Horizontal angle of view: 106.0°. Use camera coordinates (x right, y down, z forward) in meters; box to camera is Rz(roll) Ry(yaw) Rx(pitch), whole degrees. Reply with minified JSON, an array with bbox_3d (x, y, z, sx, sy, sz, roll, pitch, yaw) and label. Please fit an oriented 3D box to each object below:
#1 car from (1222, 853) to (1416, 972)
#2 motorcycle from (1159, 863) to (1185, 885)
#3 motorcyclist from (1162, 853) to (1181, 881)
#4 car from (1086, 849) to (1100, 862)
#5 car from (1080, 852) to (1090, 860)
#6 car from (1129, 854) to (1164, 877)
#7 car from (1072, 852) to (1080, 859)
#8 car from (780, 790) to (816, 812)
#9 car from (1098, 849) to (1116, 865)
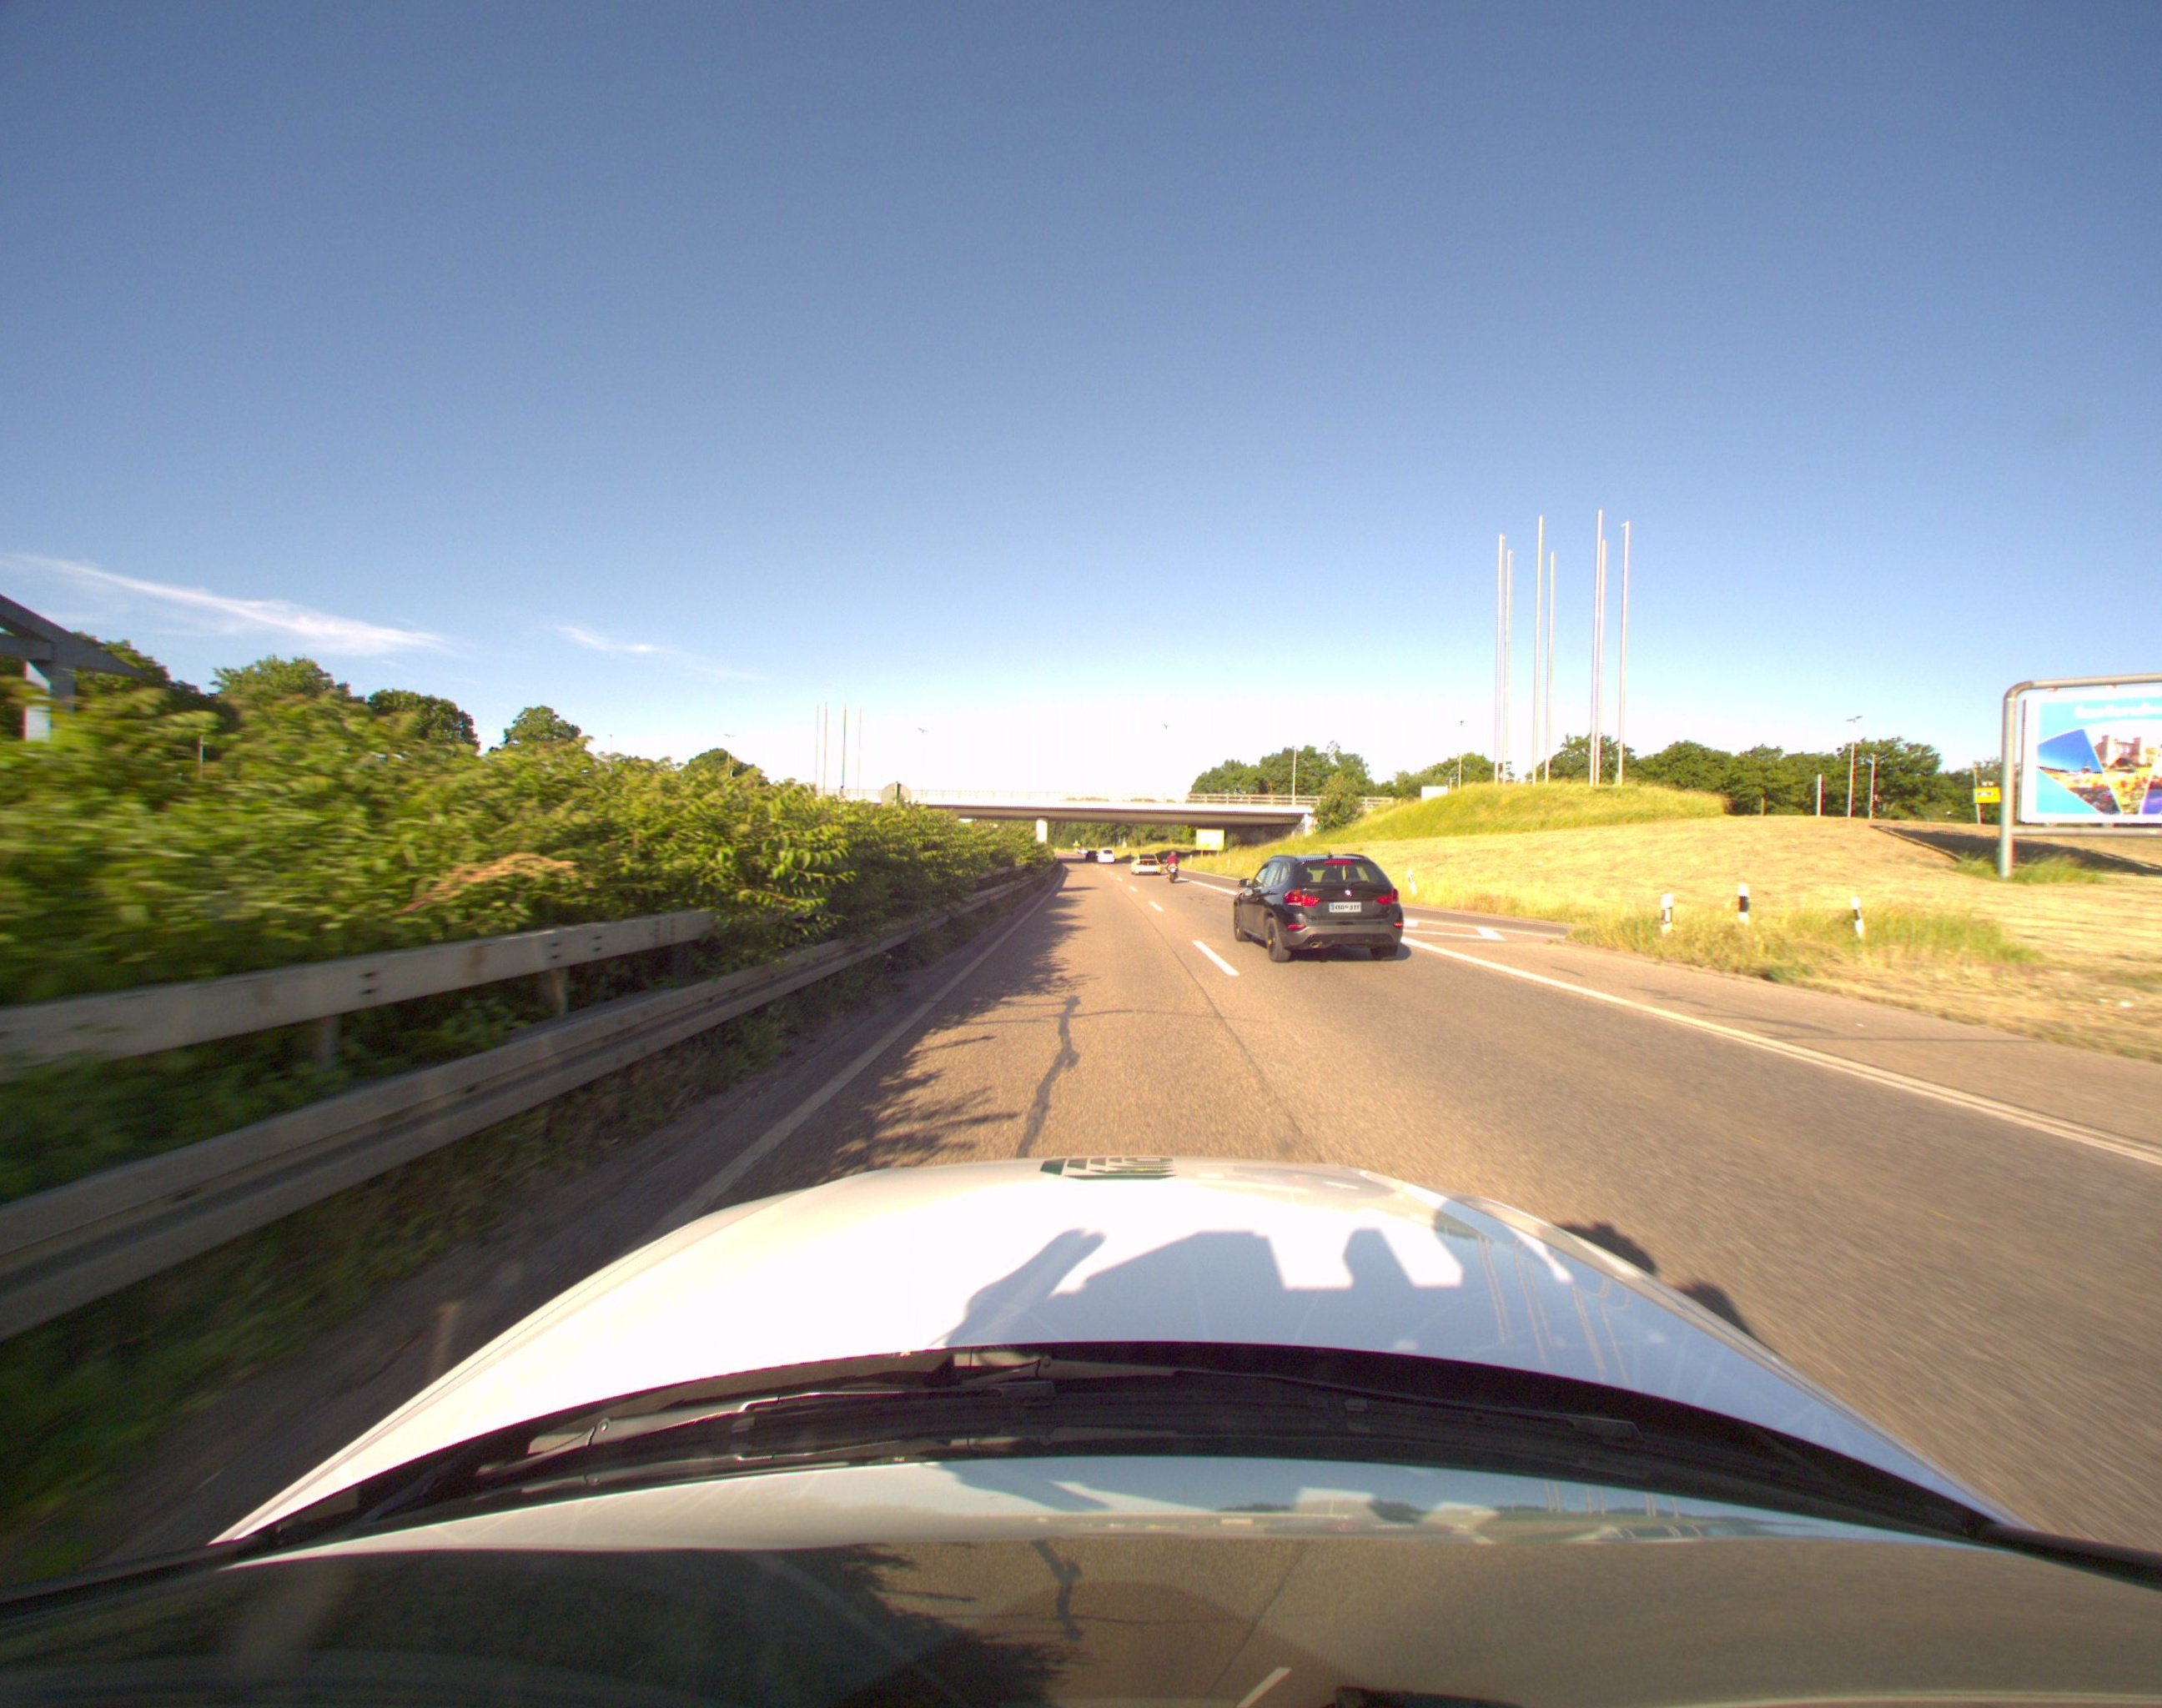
[{"bbox_3d":[3.524,0.759,12.979,1.694,1.506,4.577,-1,0,-1],"label":"car"},{"bbox_3d":[4.693,1.019,42.132,0.815,1.069,2.832,0,0,-4],"label":"motorcycle"},{"bbox_3d":[4.689,0.653,42.284,0.815,1.447,1.092,0,0,-4],"label":"motorcyclist"},{"bbox_3d":[1.701,0.242,116.922,1.892,1.767,3.997,-1,1,-2],"label":"car"},{"bbox_3d":[0.859,0.415,183.951,1.866,1.685,3.992,1,0,-5],"label":"car"},{"bbox_3d":[4.446,0.761,55.873,1.892,1.471,3.997,0,0,-2],"label":"car"},{"bbox_3d":[-1.202,0.375,201.647,1.865,1.685,3.995,1,0,-4],"label":"car"},{"bbox_3d":[-38.374,-7.131,110.523,4.272,2.805,2.092,1,0,22],"label":"car"},{"bbox_3d":[3.032,0.380,95.202,1.892,1.767,3.997,-1,0,-2],"label":"car"}]
